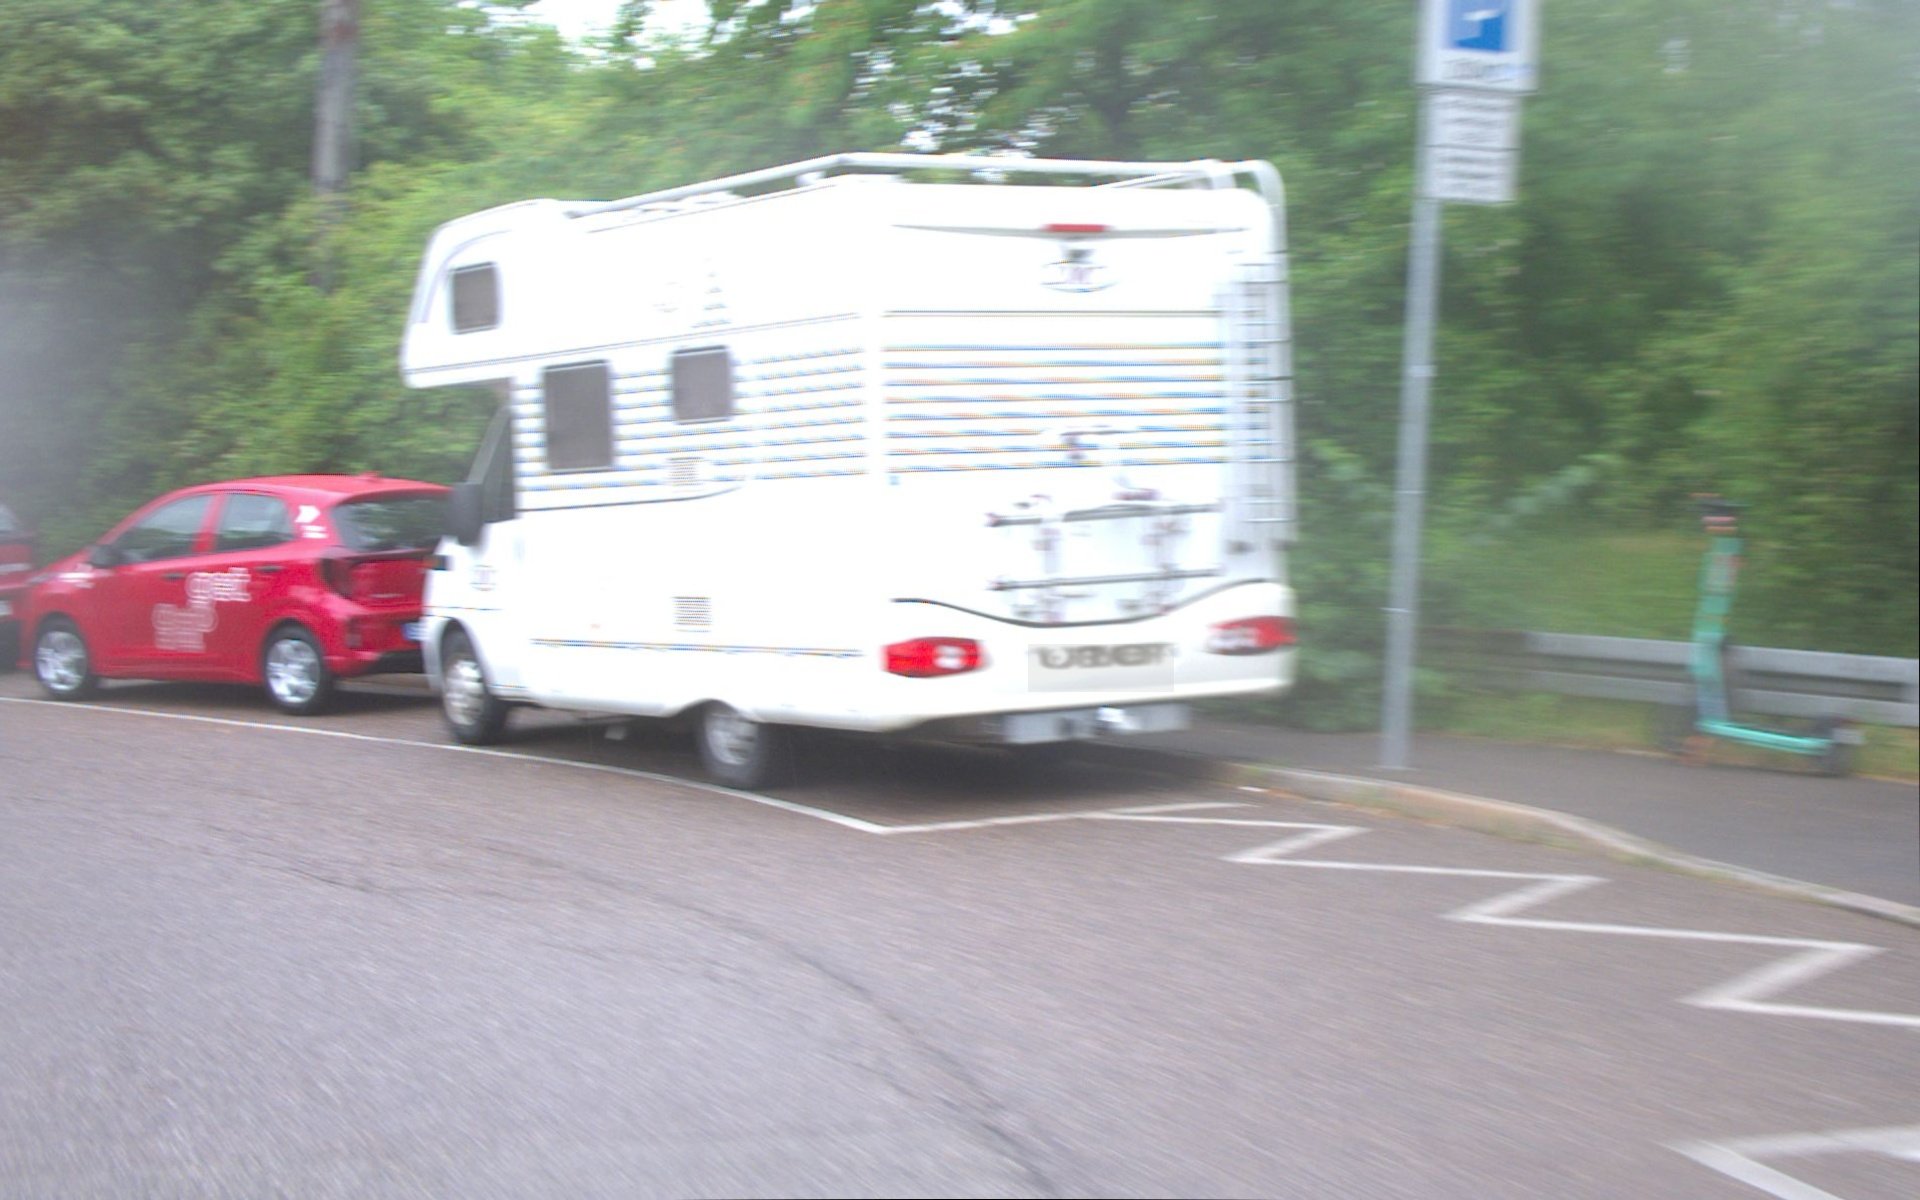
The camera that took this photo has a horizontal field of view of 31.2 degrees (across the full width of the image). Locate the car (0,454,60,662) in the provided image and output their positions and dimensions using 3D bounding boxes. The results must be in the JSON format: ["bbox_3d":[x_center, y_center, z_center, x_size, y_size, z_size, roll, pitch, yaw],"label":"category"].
[{"bbox_3d":[-8.700,-0.338,26.016,3.671,1.508,1.561,2,5,33],"label":"car"}]

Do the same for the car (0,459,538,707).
[{"bbox_3d":[-4.760,-0.174,22.856,3.802,1.455,1.643,2,5,38],"label":"car"}]

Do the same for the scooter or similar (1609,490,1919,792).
[{"bbox_3d":[3.662,0.154,15.402,0.450,1.278,1.709,-1,1,-31],"label":"scooter or similar"}]

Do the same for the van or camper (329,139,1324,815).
[{"bbox_3d":[-0.989,-0.714,18.216,2.390,2.933,6.282,-4,4,-32],"label":"van or camper"}]
